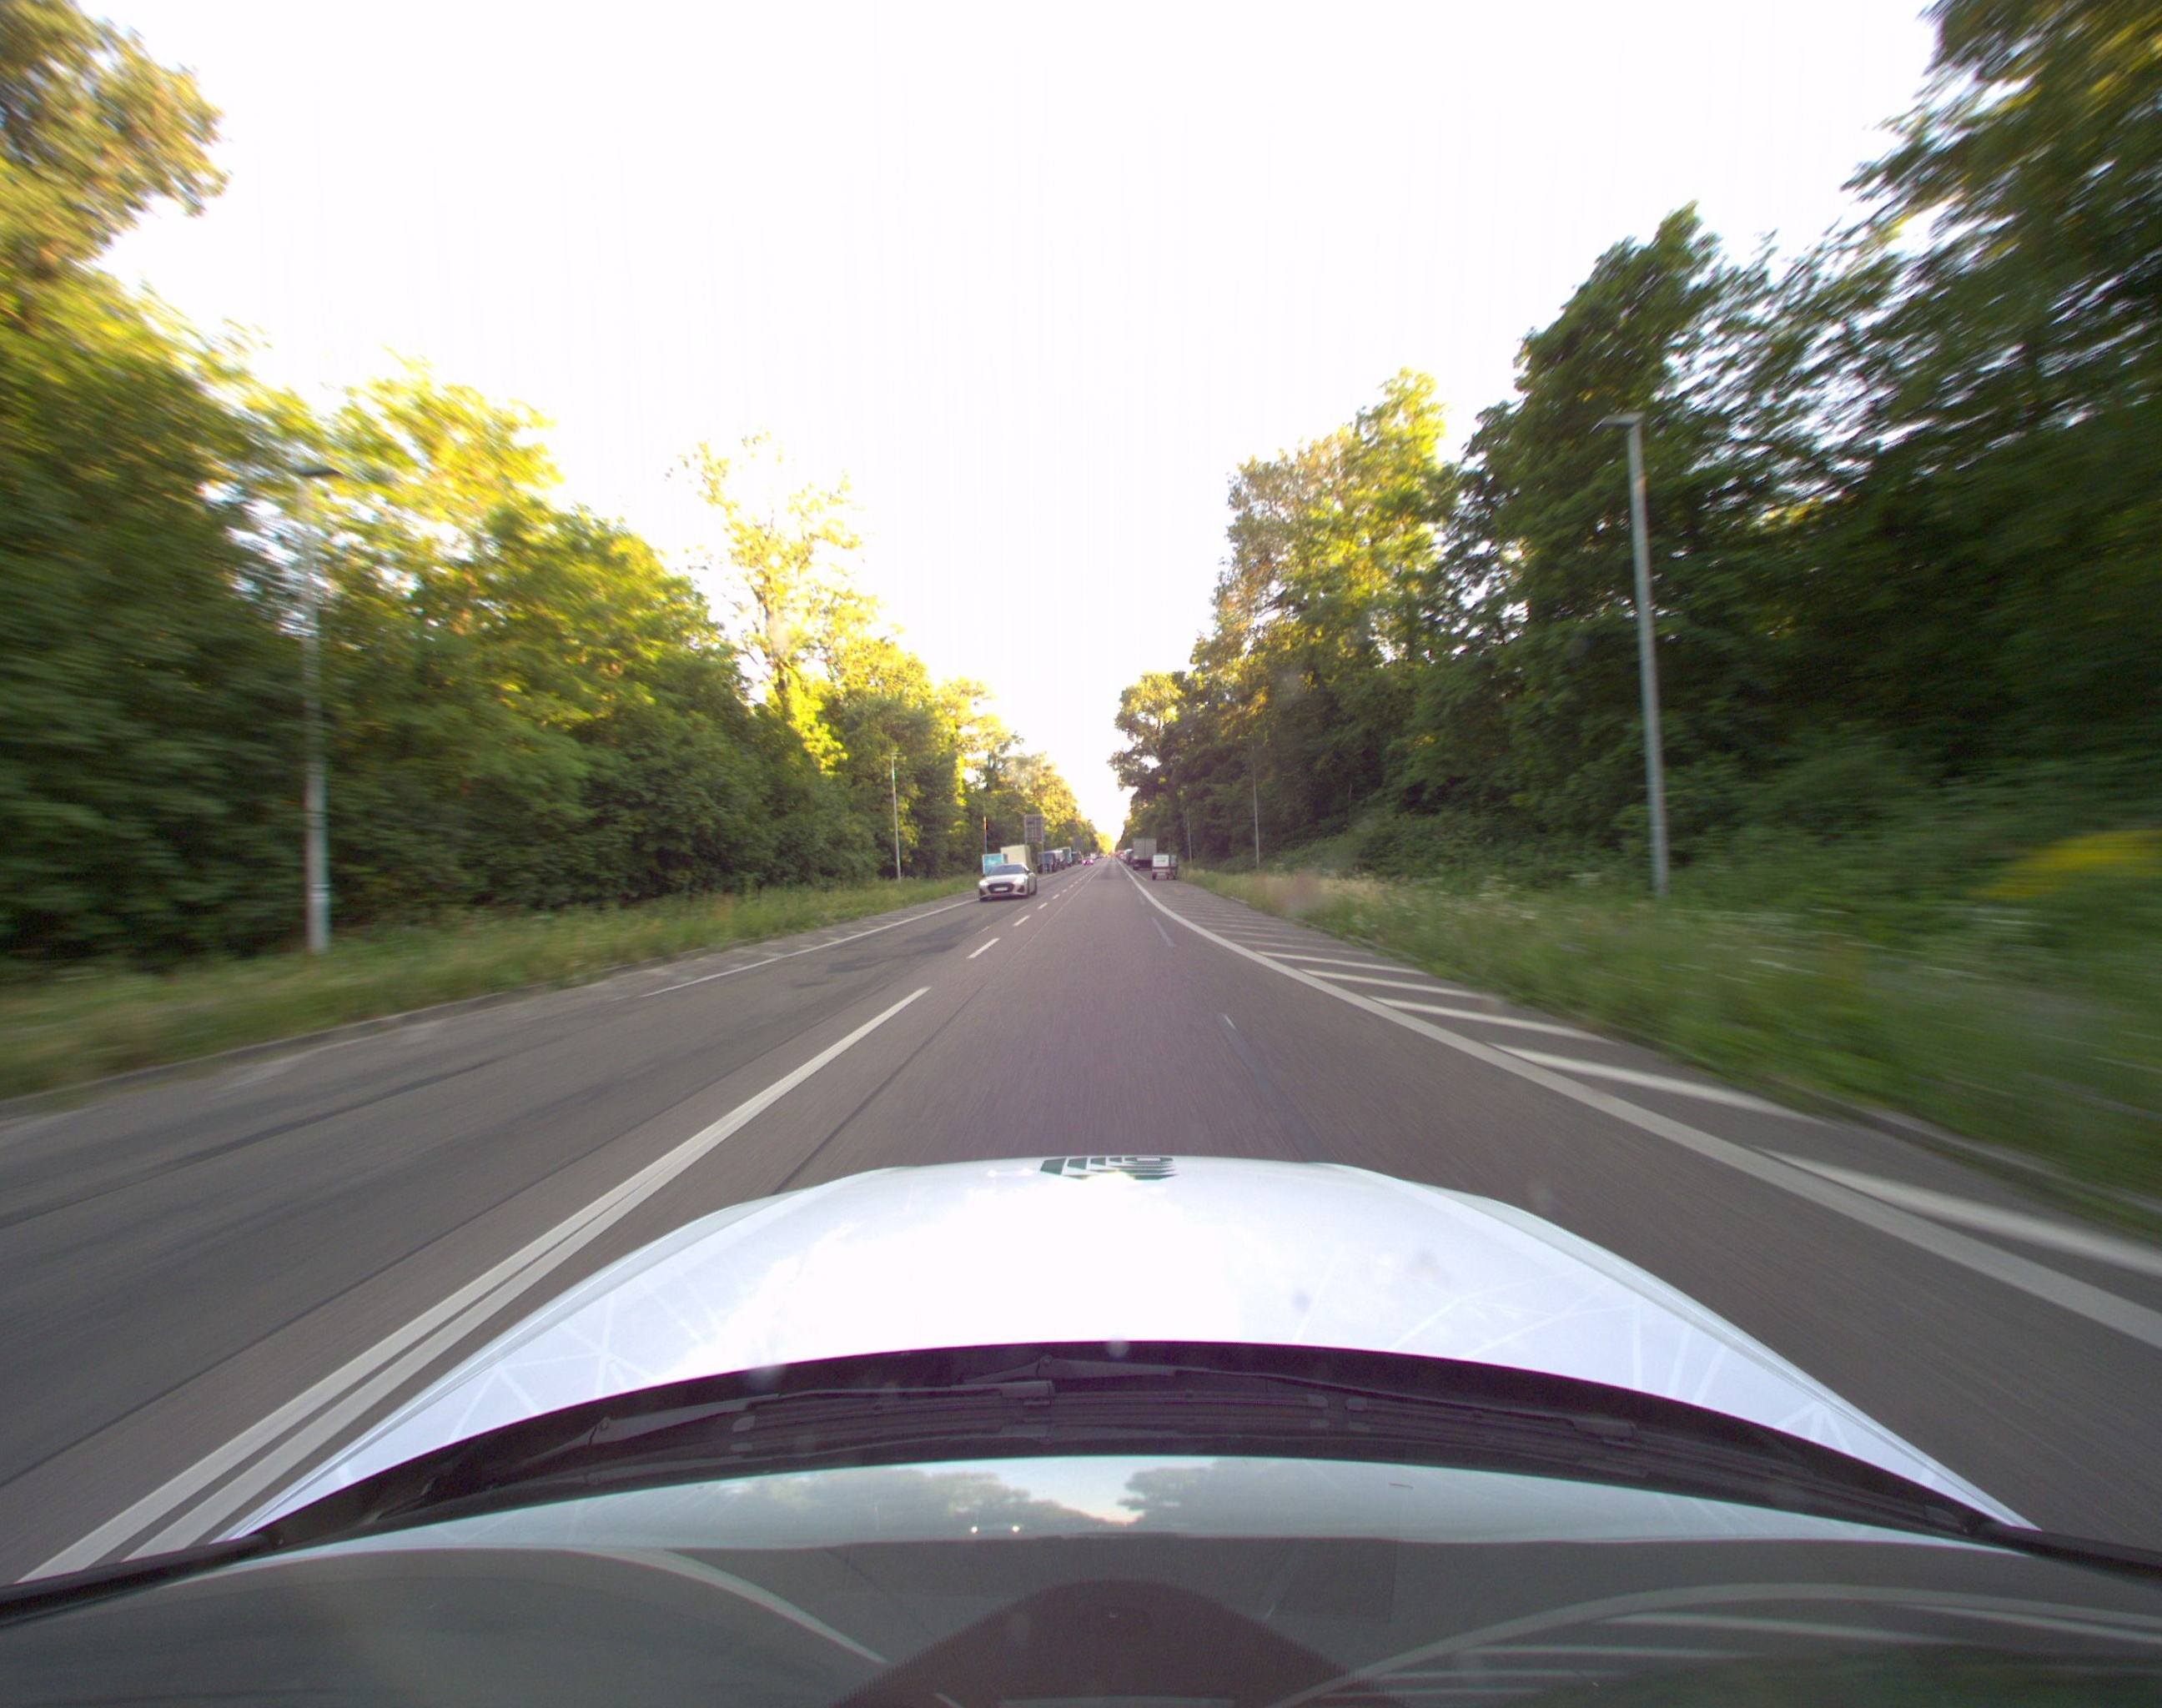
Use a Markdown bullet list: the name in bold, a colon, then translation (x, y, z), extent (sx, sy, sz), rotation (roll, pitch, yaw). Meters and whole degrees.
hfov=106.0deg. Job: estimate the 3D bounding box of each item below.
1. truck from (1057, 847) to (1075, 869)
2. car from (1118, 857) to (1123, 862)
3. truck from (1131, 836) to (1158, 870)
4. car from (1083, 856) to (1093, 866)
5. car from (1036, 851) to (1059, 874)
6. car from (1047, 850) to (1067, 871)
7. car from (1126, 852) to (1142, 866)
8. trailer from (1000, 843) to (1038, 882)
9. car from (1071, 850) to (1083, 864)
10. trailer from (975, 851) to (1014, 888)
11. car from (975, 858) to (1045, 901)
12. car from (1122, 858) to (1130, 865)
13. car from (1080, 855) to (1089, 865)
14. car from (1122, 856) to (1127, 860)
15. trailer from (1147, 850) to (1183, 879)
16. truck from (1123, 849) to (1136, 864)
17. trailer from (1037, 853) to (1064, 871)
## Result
- **truck**: translation (-2.510, 0.620, 135.998), extent (2.494, 3.328, 6.845), rotation (-4, 0, 2)
- **car**: translation (11.368, 1.530, 232.635), extent (1.422, 1.222, 3.413), rotation (1, 0, 2)
- **truck**: translation (6.507, -0.063, 83.867), extent (2.577, 3.255, 7.227), rotation (-1, -1, 4)
- **car**: translation (1.256, 1.224, 143.382), extent (1.677, 1.486, 4.038), rotation (-4, 0, 1)
- **car**: translation (-3.809, 0.965, 92.680), extent (1.986, 2.364, 5.768), rotation (-5, 0, 2)
- **car**: translation (-3.227, 0.891, 110.418), extent (2.241, 2.647, 5.724), rotation (-4, 0, 2)
- **car**: translation (7.604, 0.734, 117.767), extent (1.987, 1.955, 4.299), rotation (-1, -1, 0)
- **trailer**: translation (-5.090, 0.670, 67.573), extent (2.317, 2.924, 5.628), rotation (-5, 0, 1)
- **car**: translation (-0.769, 0.658, 170.625), extent (2.178, 2.788, 5.336), rotation (-4, 0, 2)
- **trailer**: translation (-5.449, 0.958, 51.957), extent (1.811, 2.167, 4.144), rotation (-4, 0, 1)
- **car**: translation (-2.832, 0.987, 33.461), extent (2.054, 1.435, 4.471), rotation (-5, 0, 4)
- **car**: translation (8.618, 1.409, 156.441), extent (1.143, 1.251, 2.753), rotation (-6, 0, 0)
- **car**: translation (0.829, 1.385, 189.144), extent (1.693, 2.013, 4.002), rotation (-7, 0, 2)
- **car**: translation (11.479, 1.089, 215.316), extent (1.422, 1.222, 3.413), rotation (1, 0, 2)
- **trailer**: translation (5.347, 0.653, 51.504), extent (1.444, 1.662, 3.794), rotation (-4, 0, 17)
- **truck**: translation (8.877, 0.491, 150.115), extent (2.135, 2.660, 4.299), rotation (-1, -1, 0)
- **trailer**: translation (-3.911, 1.028, 104.902), extent (1.945, 2.155, 3.952), rotation (-4, 0, 23)
